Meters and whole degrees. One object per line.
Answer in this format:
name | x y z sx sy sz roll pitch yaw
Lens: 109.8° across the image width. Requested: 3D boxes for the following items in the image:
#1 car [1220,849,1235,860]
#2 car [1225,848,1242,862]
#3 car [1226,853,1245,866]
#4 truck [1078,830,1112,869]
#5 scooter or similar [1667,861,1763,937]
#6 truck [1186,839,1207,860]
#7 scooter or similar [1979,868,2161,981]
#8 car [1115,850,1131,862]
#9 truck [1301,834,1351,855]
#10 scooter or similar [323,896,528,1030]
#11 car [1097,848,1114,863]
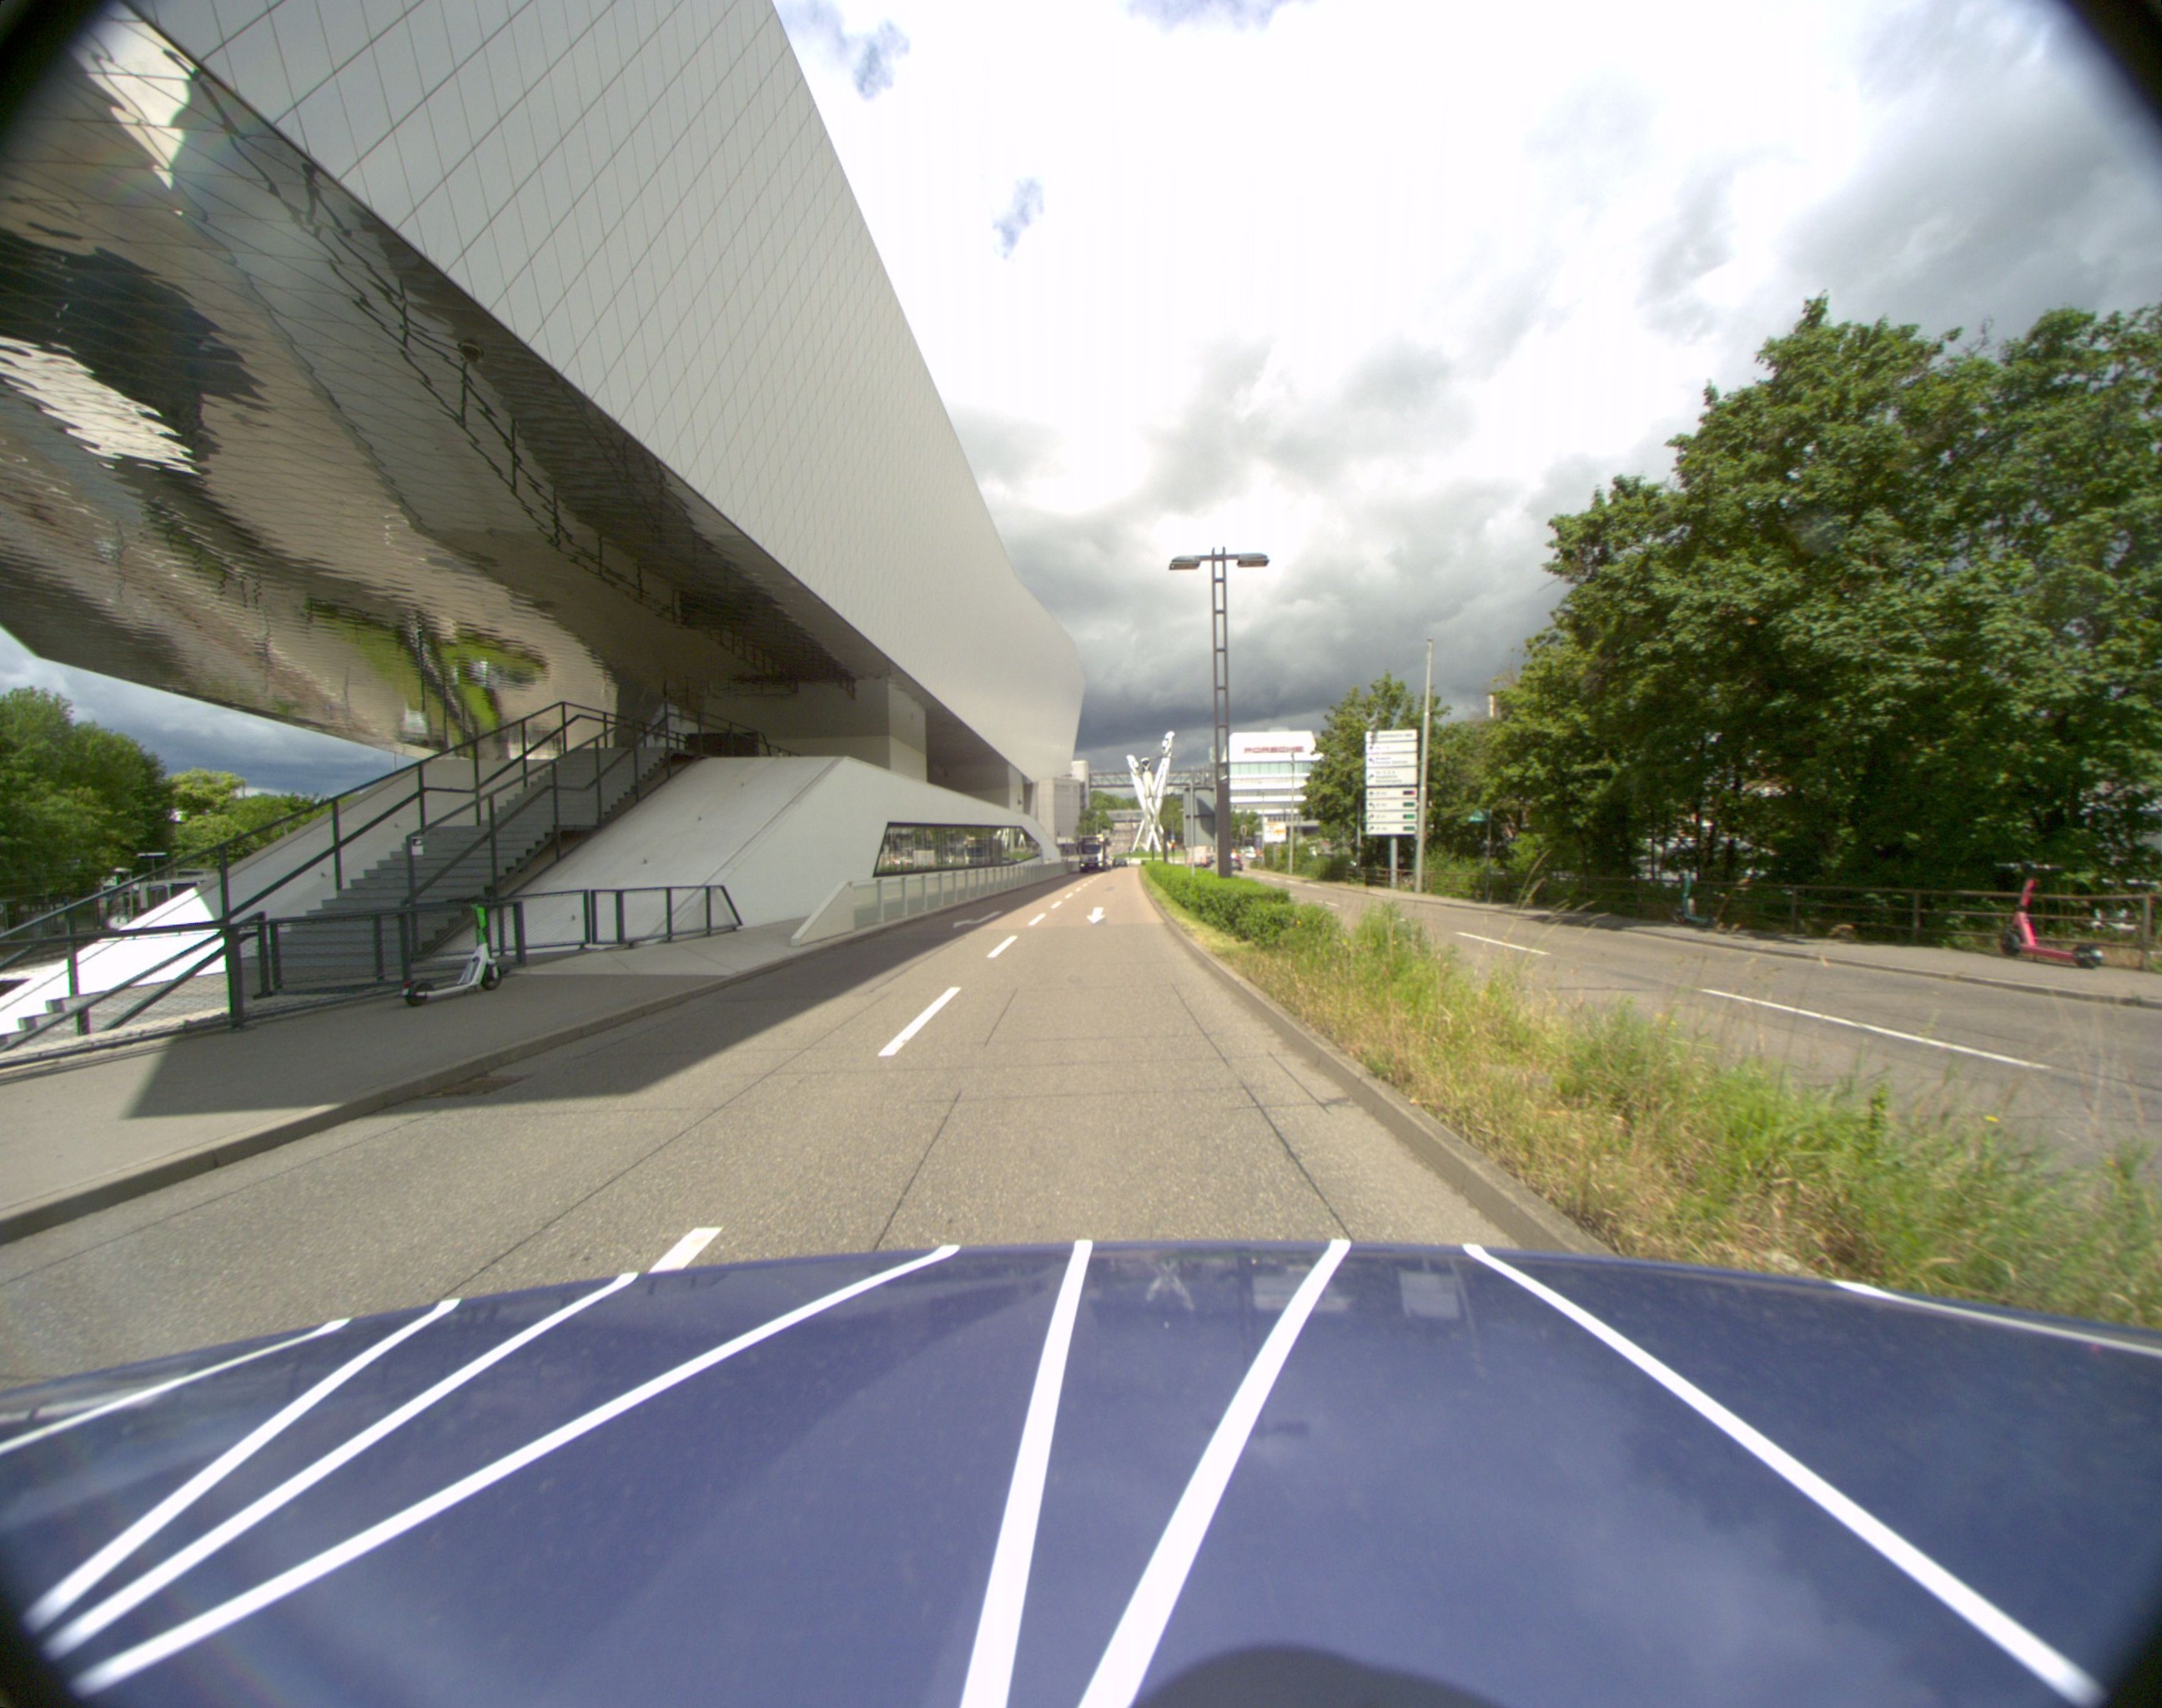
car | 20.181 0.061 104.708 1.798 1.414 4.496 1 1 14
car | 22.500 0.185 112.009 1.996 1.946 4.634 -1 1 18
car | 17.856 0.629 87.878 1.843 1.499 4.563 0 0 7
truck | 1.545 -0.482 78.420 2.842 3.669 10.755 -1 1 4
scooter or similar | 11.773 0.803 14.171 0.492 1.297 1.643 -3 0 5
truck | 16.626 -0.581 109.786 2.861 2.840 9.385 -1 -1 8
scooter or similar | 11.982 0.786 9.155 0.492 1.209 1.643 -1 0 5
car | 6.307 0.281 114.465 1.819 1.663 4.240 -1 2 -3
truck | 45.060 -1.701 140.179 2.366 3.547 8.966 -3 0 -36
scooter or similar | -7.197 1.141 8.490 0.655 1.207 1.857 0 1 0
car | 3.127 0.135 95.681 1.986 1.703 4.760 -1 2 3
